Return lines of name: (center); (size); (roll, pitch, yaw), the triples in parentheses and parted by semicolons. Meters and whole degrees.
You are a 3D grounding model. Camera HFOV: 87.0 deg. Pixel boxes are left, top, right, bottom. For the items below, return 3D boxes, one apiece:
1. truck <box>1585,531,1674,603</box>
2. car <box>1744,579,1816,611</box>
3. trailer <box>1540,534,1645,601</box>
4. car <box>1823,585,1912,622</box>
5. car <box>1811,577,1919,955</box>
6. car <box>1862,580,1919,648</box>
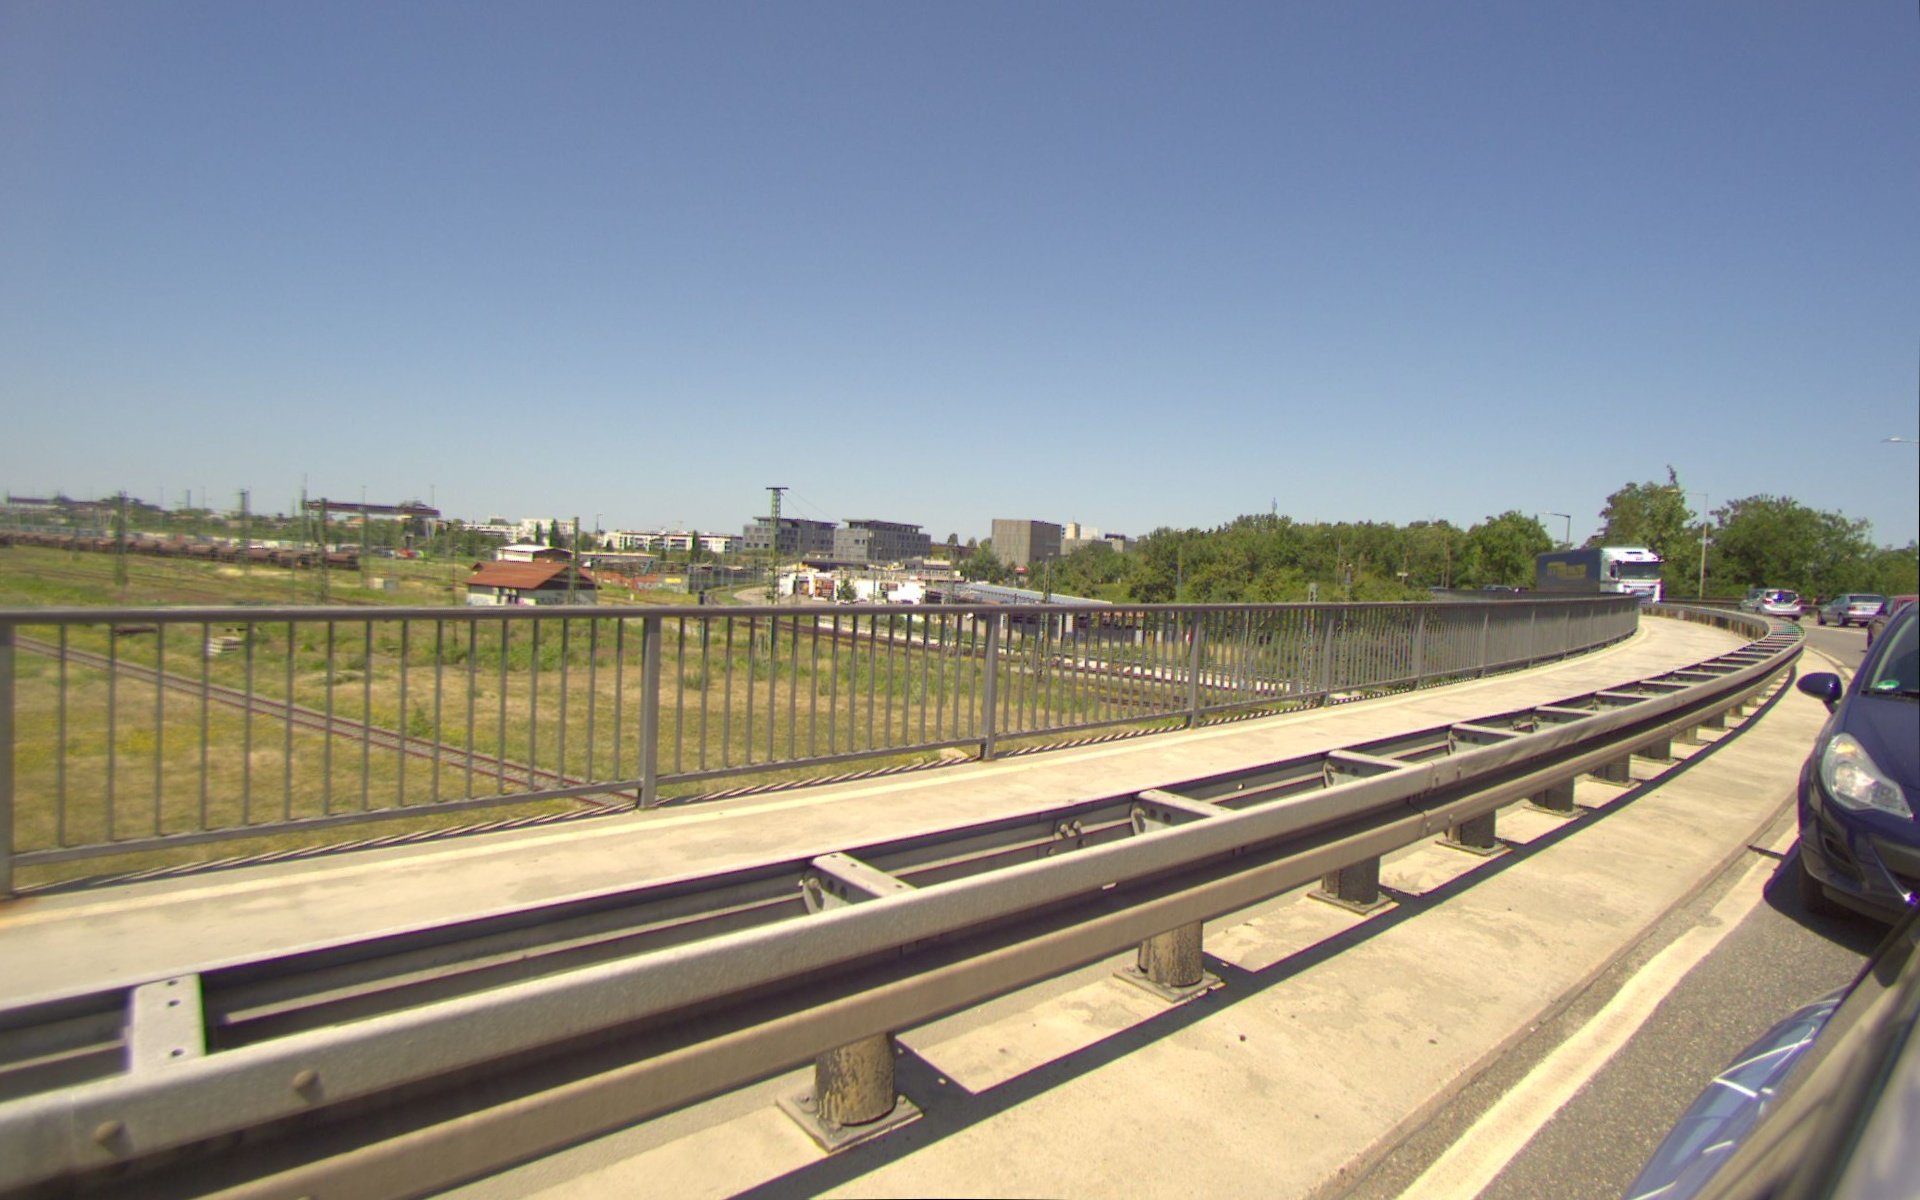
truck: (42.465, -2.060, 64.405); (2.658, 4.281, 6.808); (-1, 1, 15)
car: (42.458, -0.297, 52.493); (1.723, 1.599, 4.145); (1, 2, 23)
trailer: (44.356, -2.259, 71.509); (2.663, 4.287, 12.657); (0, 1, 15)
car: (37.372, 0.114, 41.787); (1.686, 1.393, 3.964); (1, 2, 26)
car: (5.437, 0.629, 4.946); (1.641, 1.457, 3.936); (1, 1, 45)
car: (22.622, 0.301, 23.546); (1.783, 1.473, 4.469); (1, 1, 33)
